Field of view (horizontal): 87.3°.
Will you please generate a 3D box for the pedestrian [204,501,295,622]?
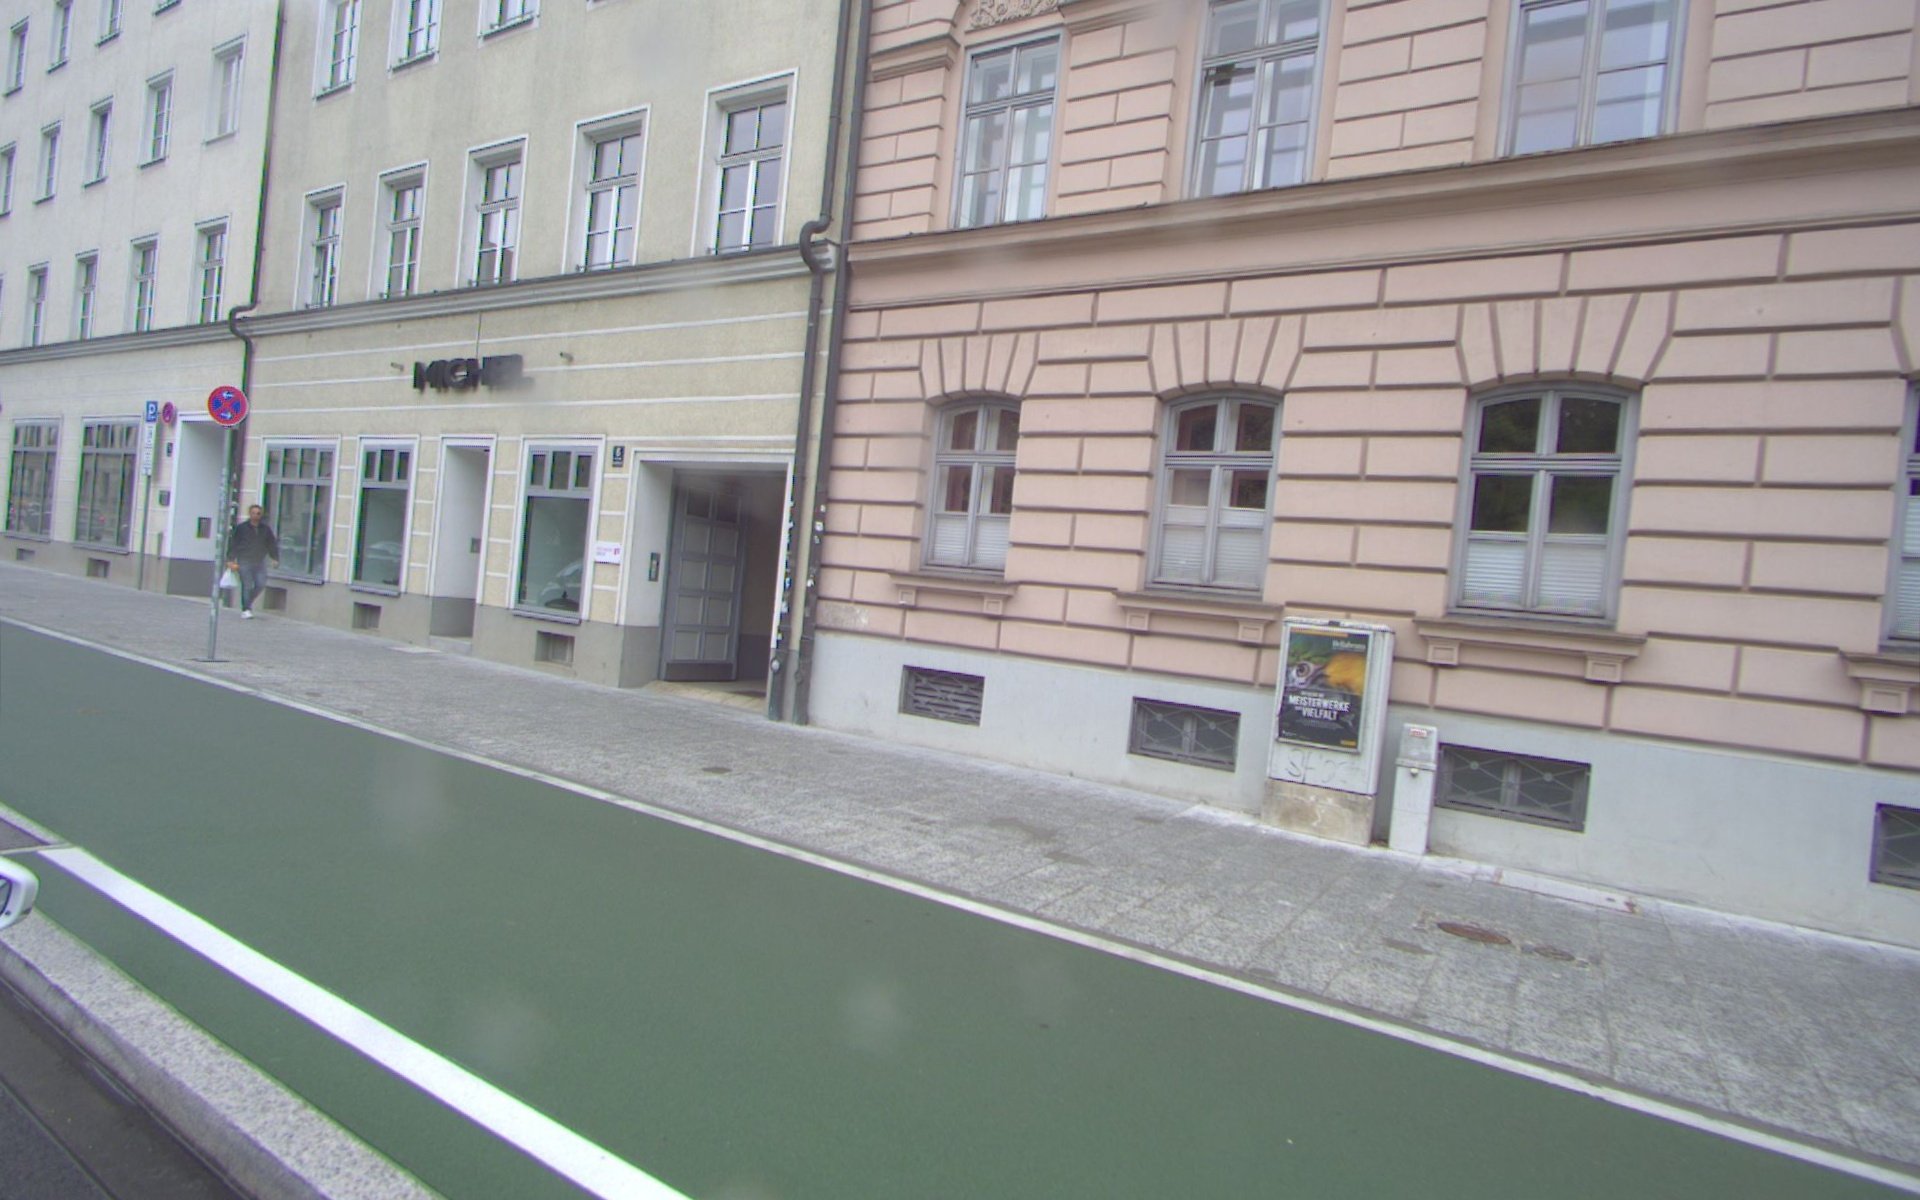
[{"bbox_3d":[-11.159,-0.597,15.807,0.820,1.768,0.794,7,1,32],"label":"pedestrian"}]
